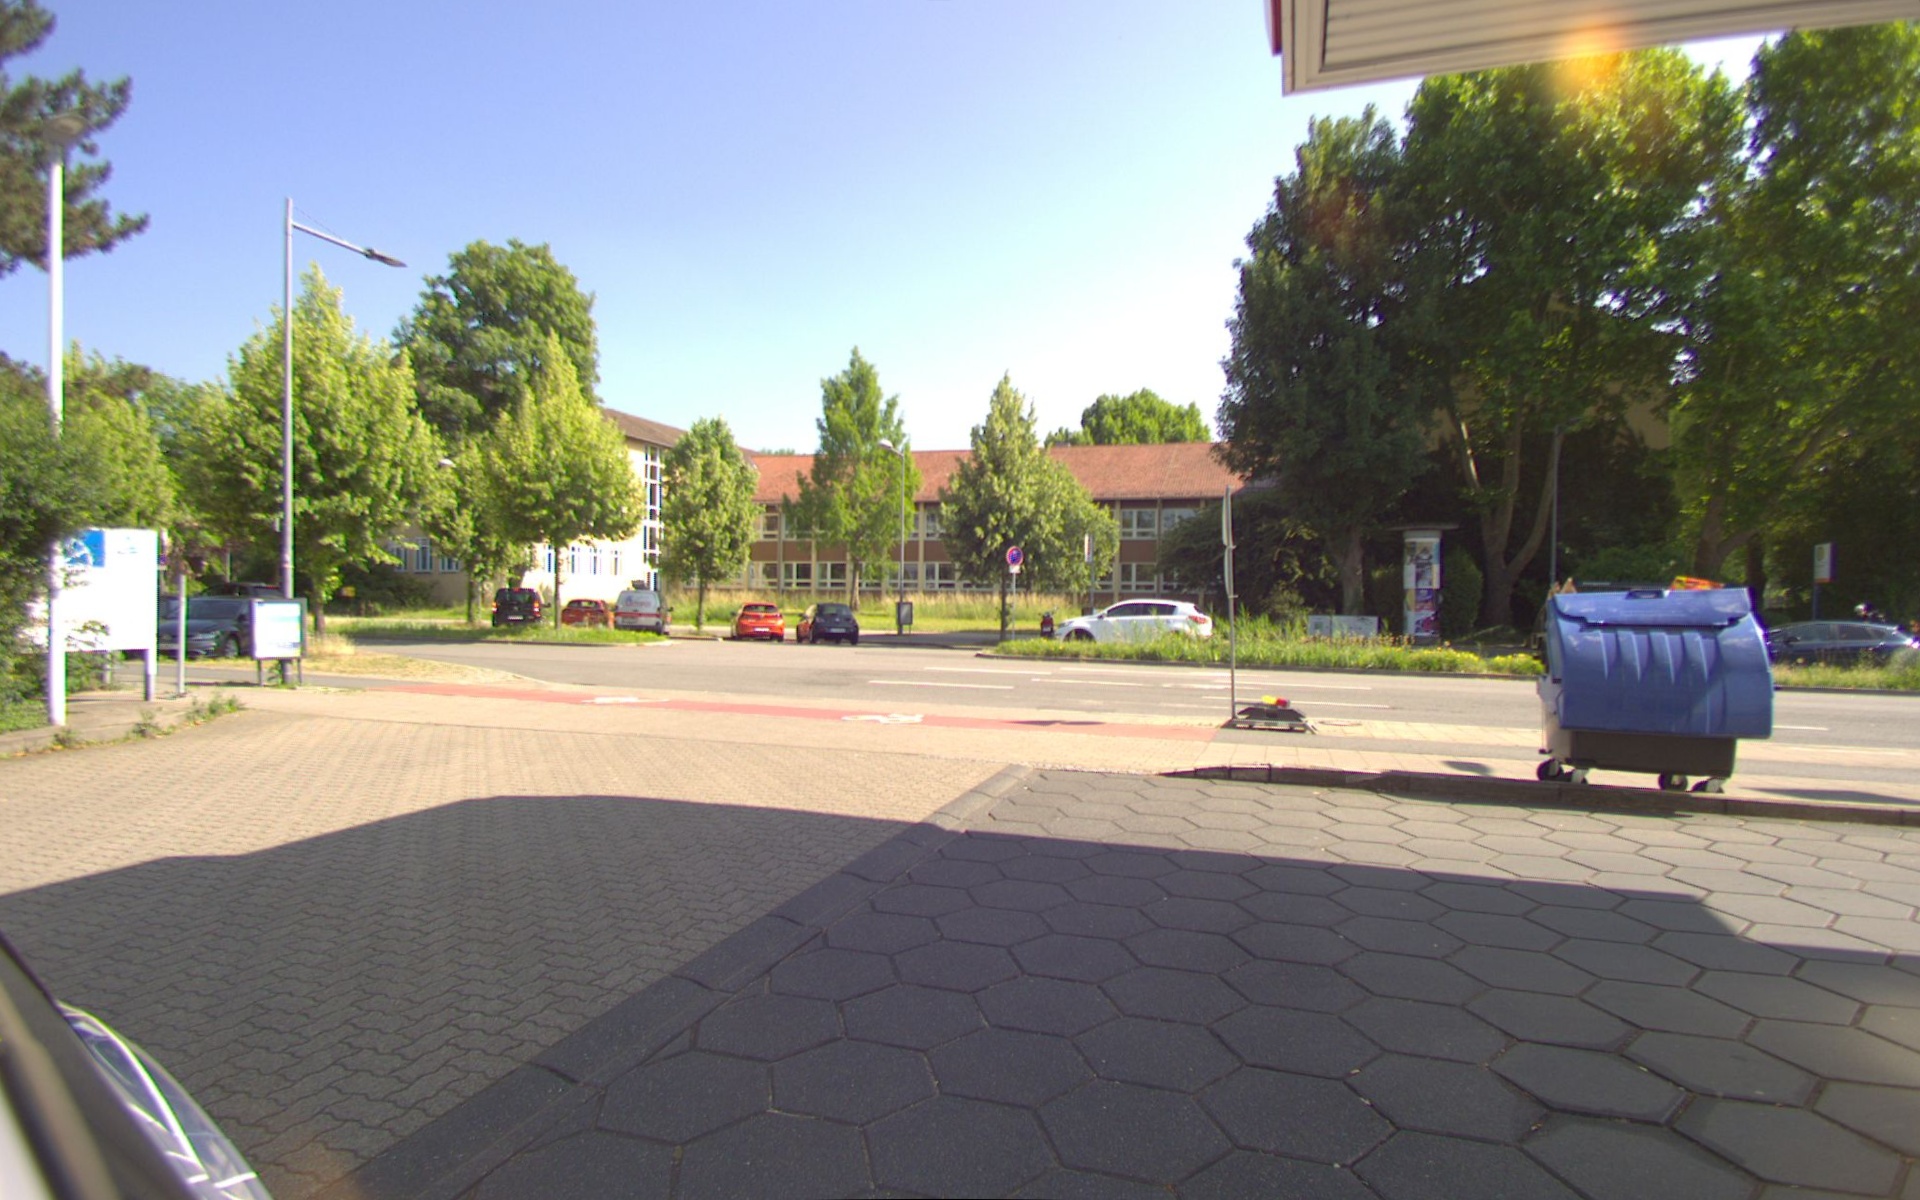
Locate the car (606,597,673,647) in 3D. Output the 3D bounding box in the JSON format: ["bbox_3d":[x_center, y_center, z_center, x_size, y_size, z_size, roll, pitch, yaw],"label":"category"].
[{"bbox_3d":[-12.283,0.866,39.023,1.851,1.735,4.235,2,-2,-10],"label":"car"}]

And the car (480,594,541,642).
[{"bbox_3d":[-17.721,0.732,40.049,1.849,1.735,4.239,3,-2,-20],"label":"car"}]

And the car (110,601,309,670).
[{"bbox_3d":[-17.150,0.819,23.423,1.852,1.428,4.233,2,-2,-8],"label":"car"}]

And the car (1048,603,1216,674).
[{"bbox_3d":[4.773,1.014,27.954,4.355,1.782,1.988,1,0,19],"label":"car"}]

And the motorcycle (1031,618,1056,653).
[{"bbox_3d":[2.741,1.160,33.442,0.549,1.122,1.761,1,0,-5],"label":"motorcycle"}]

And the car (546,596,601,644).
[{"bbox_3d":[-15.155,0.806,39.842,1.849,1.735,4.239,3,-2,-20],"label":"car"}]

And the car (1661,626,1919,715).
[{"bbox_3d":[19.018,1.550,23.262,4.358,1.782,1.987,1,0,20],"label":"car"}]

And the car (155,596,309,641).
[{"bbox_3d":[-28.478,0.709,39.586,5.614,1.623,1.987,0,-3,19],"label":"car"}]

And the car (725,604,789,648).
[{"bbox_3d":[-7.559,0.965,37.372,1.849,1.471,4.238,2,-2,-17],"label":"car"}]

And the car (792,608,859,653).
[{"bbox_3d":[-4.891,1.094,36.375,1.712,1.471,4.238,2,-2,-17],"label":"car"}]

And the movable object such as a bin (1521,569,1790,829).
[{"bbox_3d":[5.048,0.677,7.515,1.327,1.701,1.334,1,-3,20],"label":"movable object such as a bin"}]
